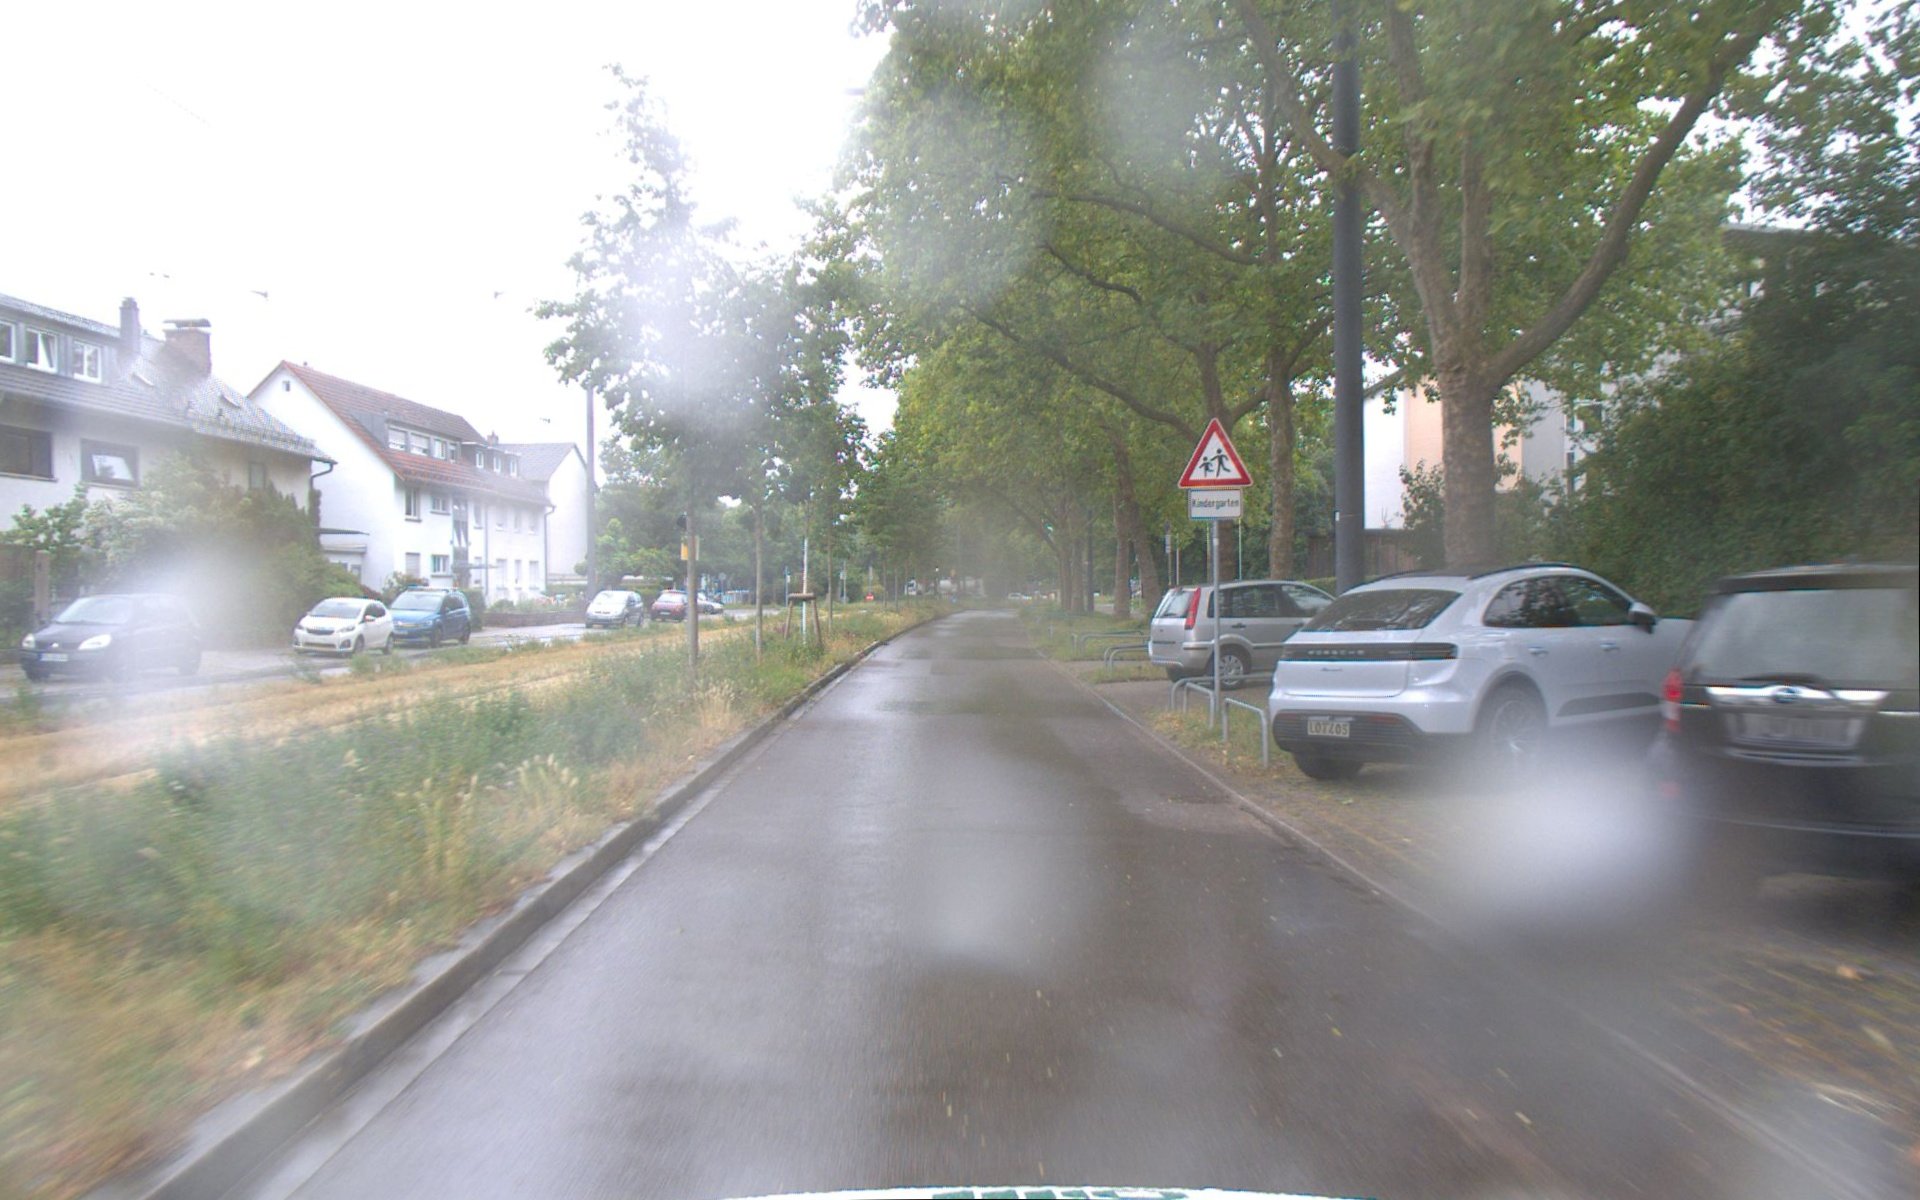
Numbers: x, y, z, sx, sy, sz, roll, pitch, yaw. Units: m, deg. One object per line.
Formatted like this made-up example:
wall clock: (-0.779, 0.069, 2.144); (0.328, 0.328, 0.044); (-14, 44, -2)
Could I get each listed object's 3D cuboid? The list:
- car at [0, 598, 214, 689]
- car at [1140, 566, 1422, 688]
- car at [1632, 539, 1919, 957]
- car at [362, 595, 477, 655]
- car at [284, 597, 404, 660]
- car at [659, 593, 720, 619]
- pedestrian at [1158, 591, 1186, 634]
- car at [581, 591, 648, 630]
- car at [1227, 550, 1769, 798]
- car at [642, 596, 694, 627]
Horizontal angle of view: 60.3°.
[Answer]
car: (-16.219, 0.773, 31.631); (1.952, 1.542, 4.206); (1, 1, 0)
car: (4.772, 0.367, 24.683); (3.791, 1.593, 1.613); (-2, 1, -15)
car: (4.943, 0.521, 7.673); (3.669, 1.593, 1.600); (-2, 1, -34)
car: (-16.231, 0.715, 49.914); (1.952, 1.642, 4.413); (1, 1, 0)
car: (-16.129, 0.706, 43.470); (1.759, 1.514, 3.597); (1, 1, 0)
car: (-18.726, 0.401, 114.575); (3.906, 1.645, 1.999); (-1, 0, -2)
pedestrian: (7.835, 0.455, 61.212); (0.817, 1.565, 0.859); (-2, 0, -4)
car: (-15.378, 0.459, 73.848); (1.952, 1.608, 4.517); (1, 1, 0)
car: (4.579, 0.478, 13.733); (4.726, 1.697, 1.968); (-2, 1, -38)
car: (-15.480, 0.575, 87.787); (1.952, 1.514, 4.206); (1, 1, 0)
